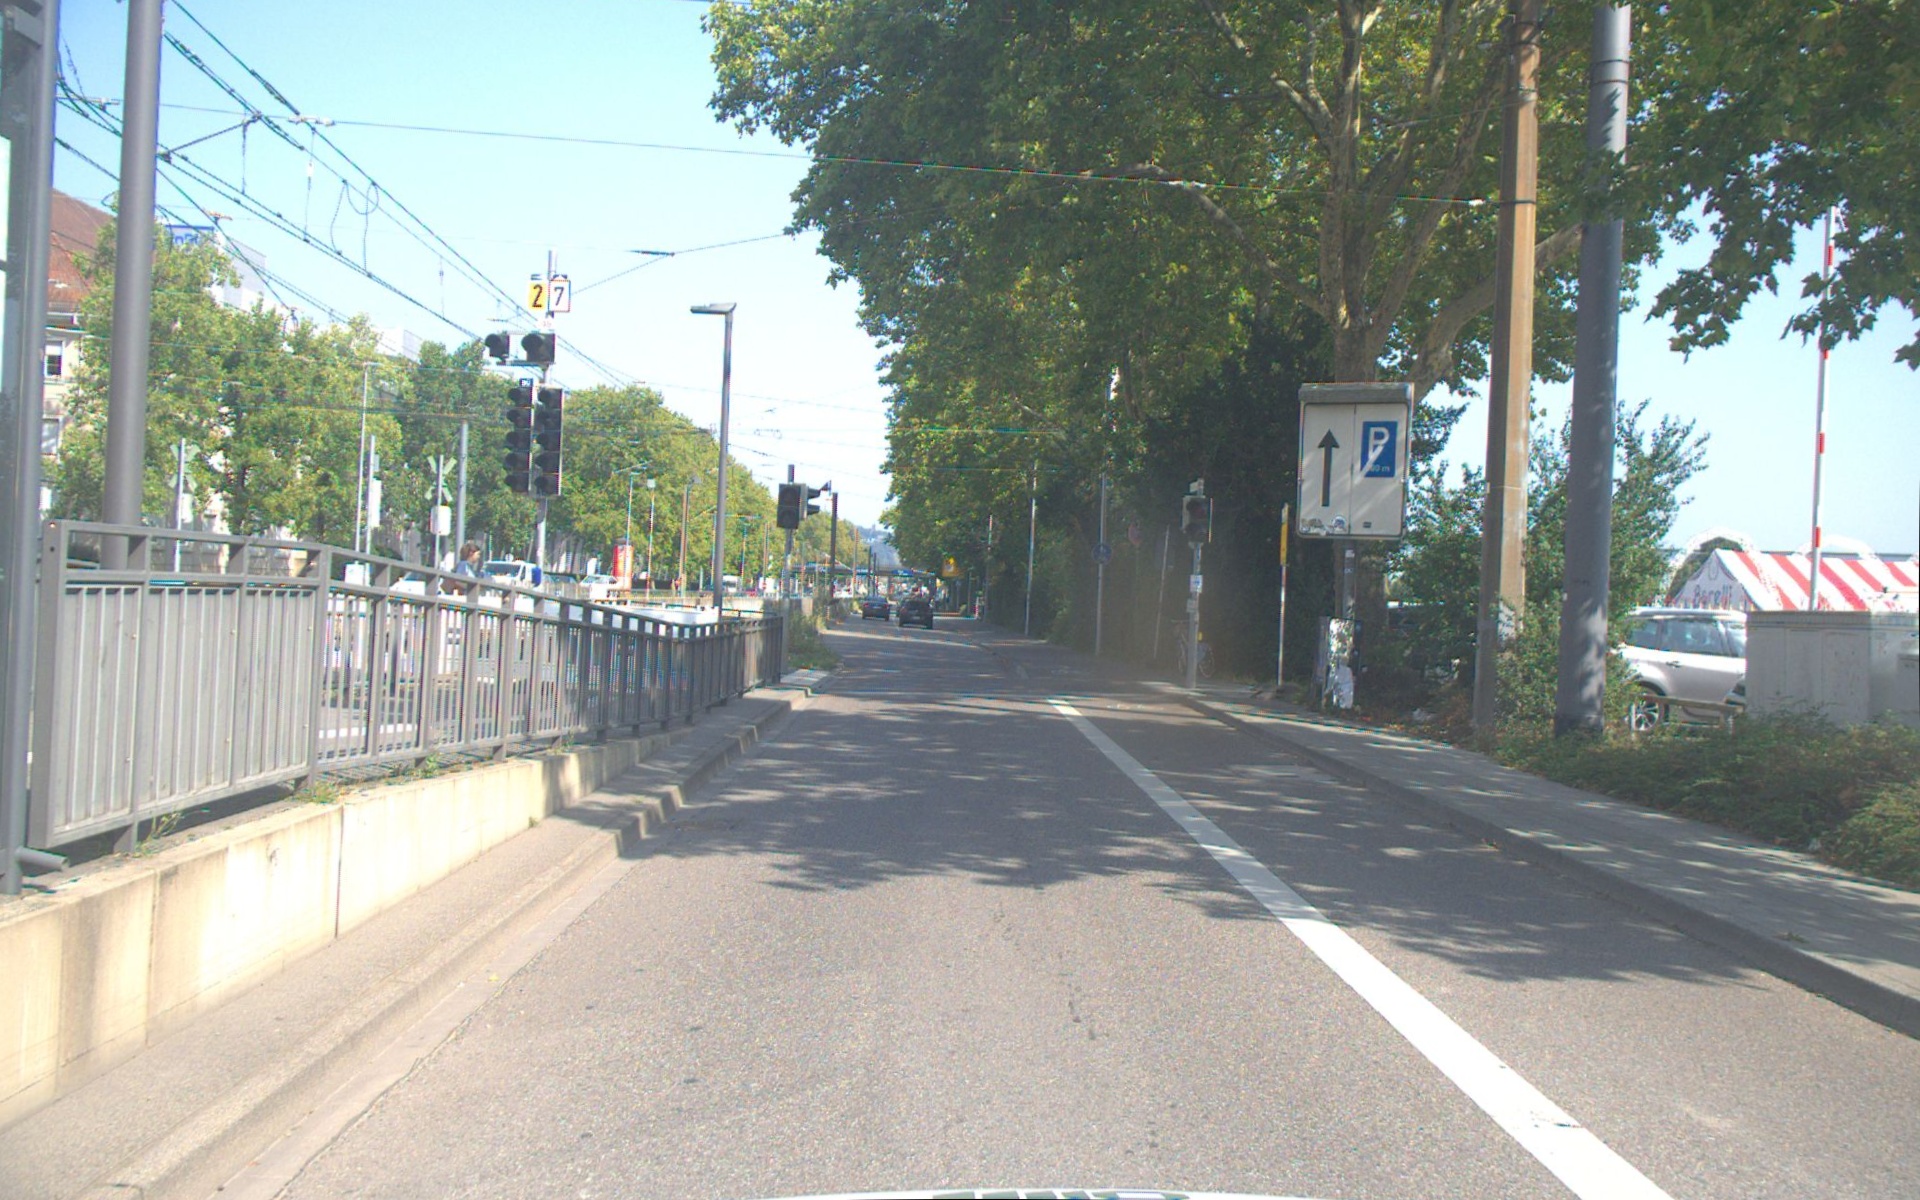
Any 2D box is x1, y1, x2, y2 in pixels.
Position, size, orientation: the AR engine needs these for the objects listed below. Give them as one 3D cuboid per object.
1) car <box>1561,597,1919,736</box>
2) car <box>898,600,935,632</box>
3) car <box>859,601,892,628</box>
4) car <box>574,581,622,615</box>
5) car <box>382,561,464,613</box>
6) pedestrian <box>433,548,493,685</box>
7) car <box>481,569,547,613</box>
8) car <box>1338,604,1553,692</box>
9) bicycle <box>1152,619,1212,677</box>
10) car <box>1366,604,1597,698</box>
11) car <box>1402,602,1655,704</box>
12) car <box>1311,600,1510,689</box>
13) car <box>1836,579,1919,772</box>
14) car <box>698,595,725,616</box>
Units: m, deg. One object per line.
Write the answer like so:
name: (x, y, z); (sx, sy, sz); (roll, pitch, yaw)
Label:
car: (10.501, 0.864, 22.439); (3.907, 1.614, 1.999); (3, 0, -3)
car: (-2.294, 0.825, 86.318); (1.869, 1.564, 3.998); (1, 0, -3)
car: (-5.165, 0.893, 101.609); (1.934, 1.564, 3.998); (-1, 0, -3)
car: (-20.709, -0.113, 94.779); (1.953, 1.870, 3.998); (-1, -1, -2)
car: (-20.385, -0.476, 62.920); (1.953, 1.870, 3.998); (-1, -1, -2)
pedestrian: (-6.864, 0.228, 22.887); (0.695, 1.853, 0.771); (1, -1, -11)
car: (-19.690, -0.369, 73.157); (1.953, 1.870, 3.998); (-1, -1, -2)
car: (10.310, 1.008, 35.318); (3.907, 1.614, 1.999); (3, 0, -3)
bicycle: (4.360, 0.933, 32.684); (0.598, 1.039, 2.400); (3, 0, -6)
car: (10.353, 0.984, 33.048); (3.907, 1.614, 1.999); (3, 0, -3)
car: (10.417, 0.954, 30.488); (3.907, 1.614, 1.999); (3, 0, -3)
car: (10.208, 0.988, 37.692); (3.907, 1.754, 1.999); (3, 0, -3)
car: (11.753, 0.783, 17.462); (4.018, 1.952, 1.848); (1, 0, 1)
car: (-22.205, 0.503, 147.963); (1.953, 1.870, 3.998); (-1, -1, -2)
